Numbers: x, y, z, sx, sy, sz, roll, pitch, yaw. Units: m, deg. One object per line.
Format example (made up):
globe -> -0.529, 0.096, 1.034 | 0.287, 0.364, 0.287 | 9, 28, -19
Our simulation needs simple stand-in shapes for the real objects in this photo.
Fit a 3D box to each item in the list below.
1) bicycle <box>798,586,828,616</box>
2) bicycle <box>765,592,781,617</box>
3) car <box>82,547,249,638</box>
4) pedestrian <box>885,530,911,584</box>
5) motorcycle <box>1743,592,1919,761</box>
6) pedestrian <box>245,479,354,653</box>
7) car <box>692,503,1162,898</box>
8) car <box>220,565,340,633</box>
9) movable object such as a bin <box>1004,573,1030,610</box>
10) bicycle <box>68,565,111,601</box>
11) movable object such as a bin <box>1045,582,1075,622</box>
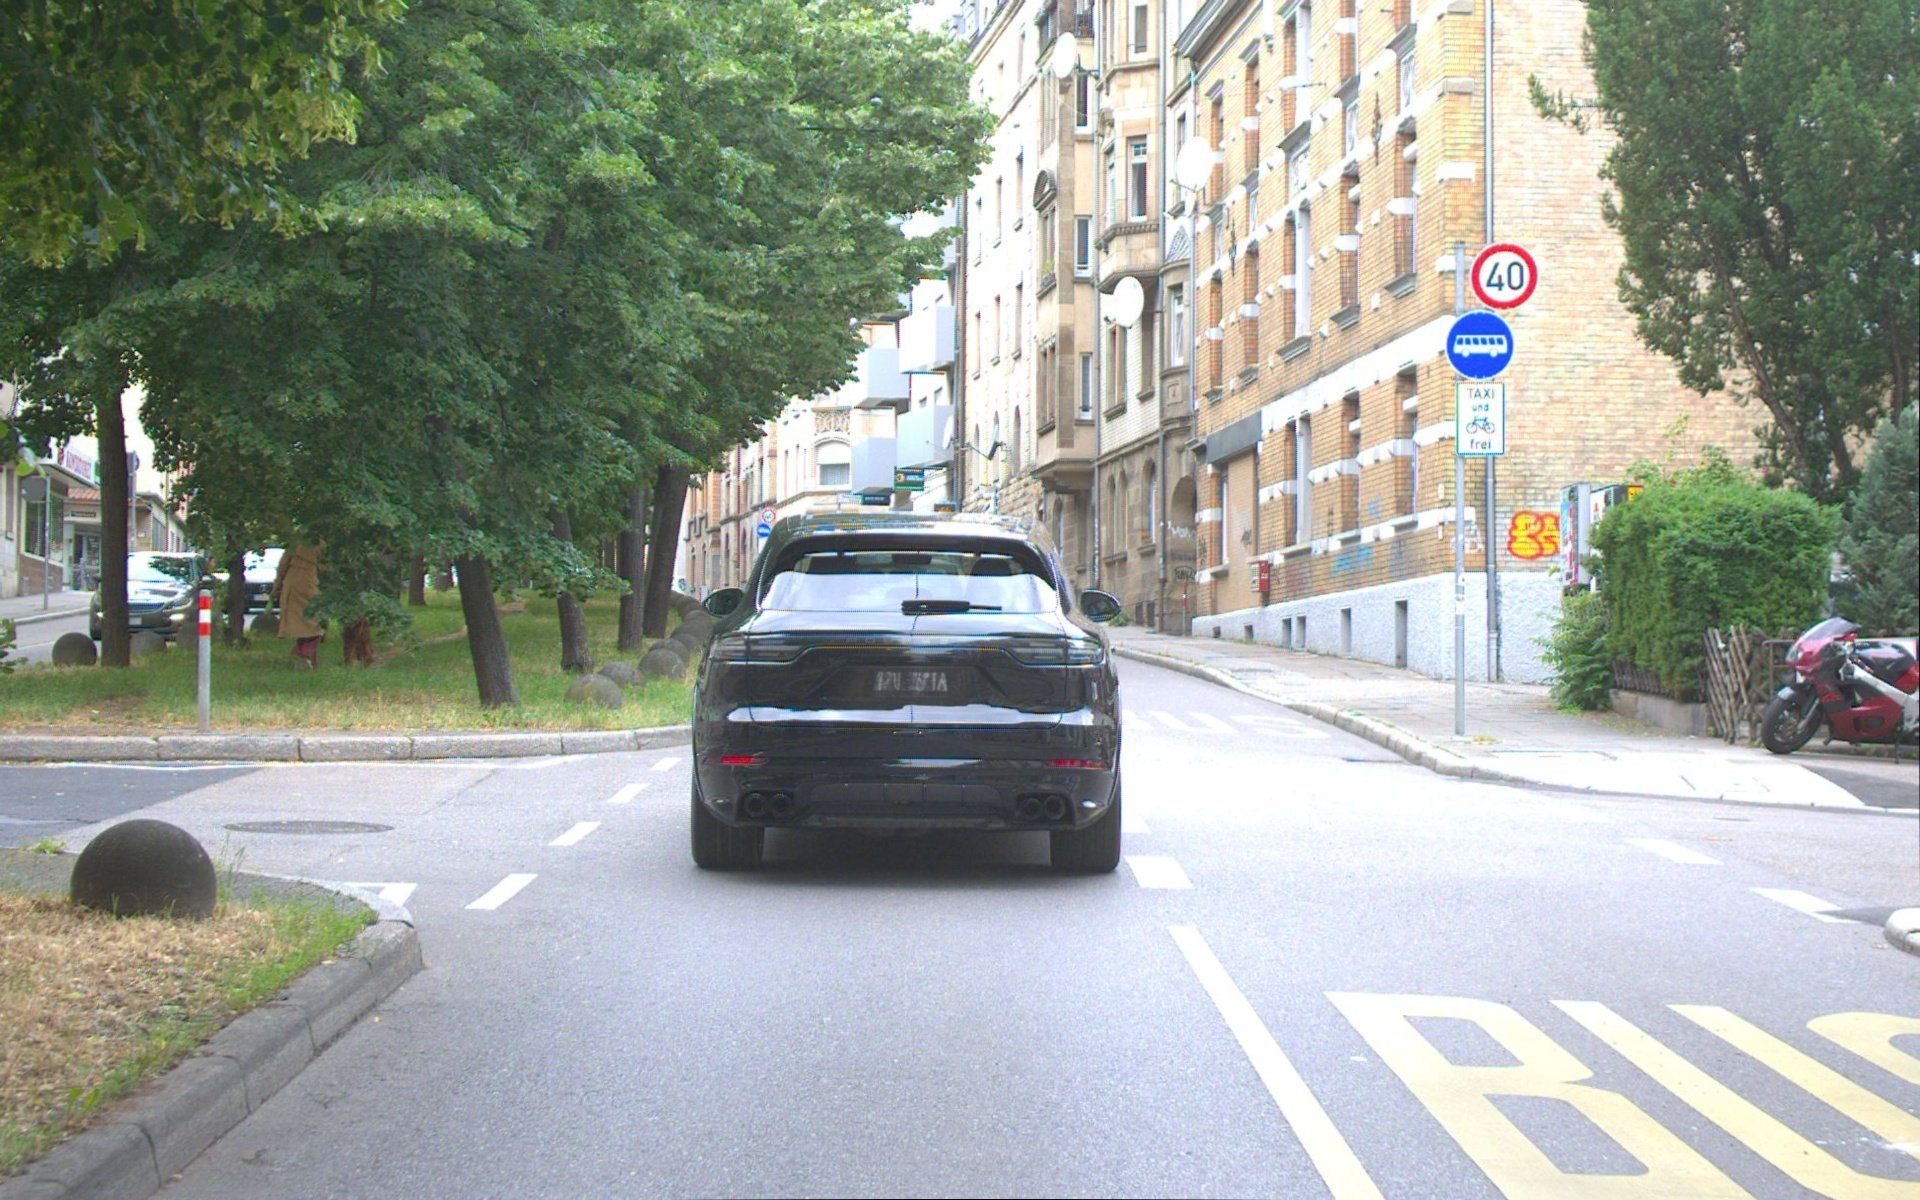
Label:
bicycle -> -5.900, 0.047, 137.840 | 0.879, 1.125, 2.980 | 1, -1, -8
bicycle -> -8.083, 0.207, 148.557 | 0.446, 1.033, 2.249 | 0, -2, -10
car -> -13.350, -0.160, 58.022 | 1.708, 1.377, 4.669 | -1, 2, 0
pedestrian -> -1.989, -1.377, 109.534 | 0.751, 1.687, 0.858 | 0, -1, -6
motorcycle -> 7.392, 0.612, 27.262 | 2.055, 1.263, 1.010 | 2, 1, -5
pedestrian -> -6.740, -0.333, 35.134 | 0.833, 1.706, 1.123 | -3, -1, -1
car -> -0.236, 0.409, 16.950 | 1.993, 1.660, 4.001 | 2, 1, -3
car -> -15.217, -0.048, 77.140 | 1.758, 1.377, 4.669 | -1, 2, 0
movable object such as a bin -> 1.439, -0.215, 86.872 | 0.594, 0.901, 0.503 | 1, -4, -6
bicycle -> -27.508, -0.539, 108.592 | 0.762, 1.081, 2.037 | 3, -2, -29
movable object such as a bin -> 2.280, 0.051, 78.337 | 0.594, 0.901, 0.563 | 1, 0, -6
